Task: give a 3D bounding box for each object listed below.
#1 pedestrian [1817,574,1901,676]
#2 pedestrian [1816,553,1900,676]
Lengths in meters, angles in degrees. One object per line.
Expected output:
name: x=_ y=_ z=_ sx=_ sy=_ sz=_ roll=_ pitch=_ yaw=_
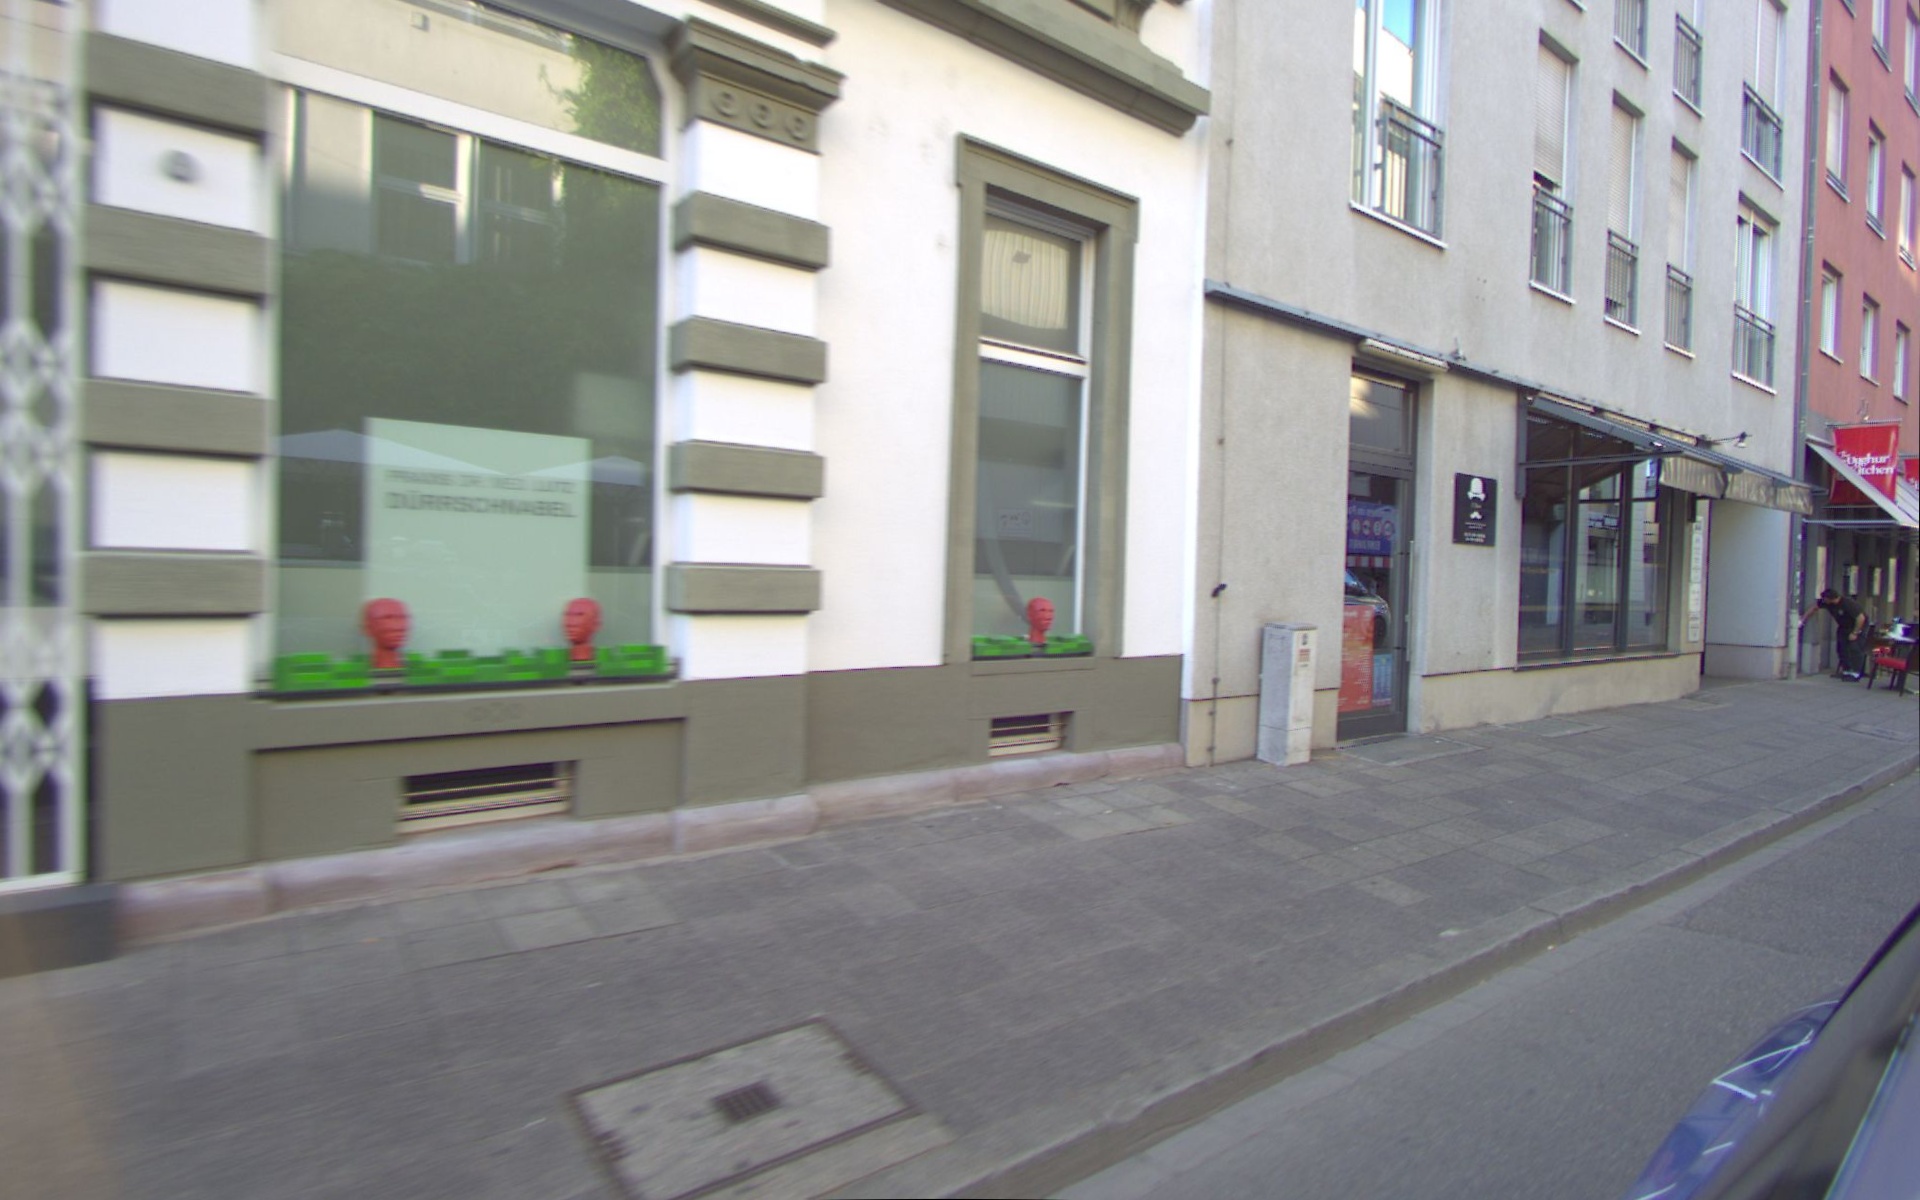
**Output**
pedestrian: x=13.865 y=0.362 z=15.618 sx=0.649 sy=1.504 sz=0.827 roll=0 pitch=2 yaw=-38
pedestrian: x=13.818 y=0.200 z=15.598 sx=0.654 sy=1.814 sz=0.724 roll=5 pitch=4 yaw=26
